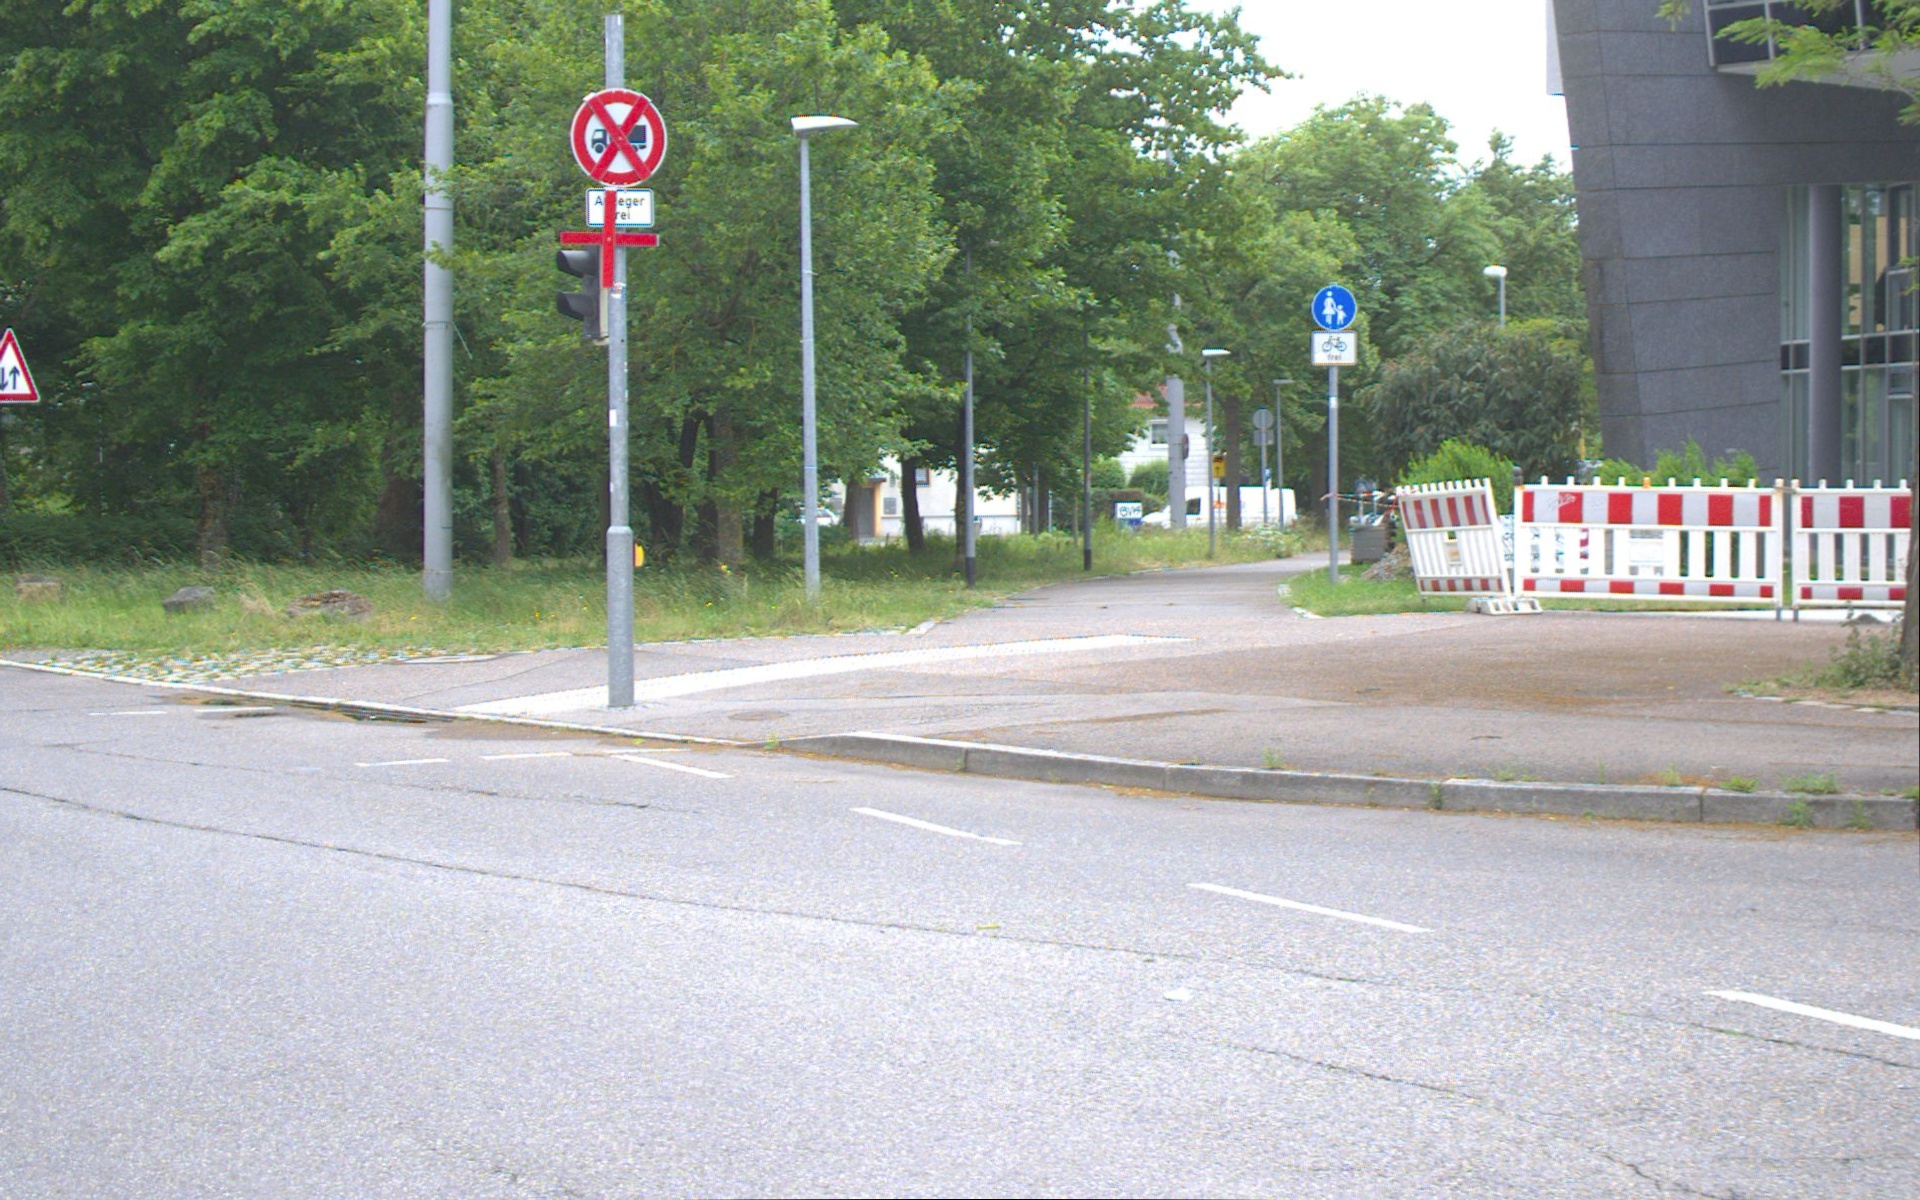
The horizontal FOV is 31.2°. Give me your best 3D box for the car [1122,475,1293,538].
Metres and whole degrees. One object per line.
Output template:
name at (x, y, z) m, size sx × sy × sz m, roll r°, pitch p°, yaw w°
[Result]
car at (10.619, -4.004, 147.342) m, size 6.956 × 2.513 × 2.086 m, roll 1°, pitch 3°, yaw -16°
